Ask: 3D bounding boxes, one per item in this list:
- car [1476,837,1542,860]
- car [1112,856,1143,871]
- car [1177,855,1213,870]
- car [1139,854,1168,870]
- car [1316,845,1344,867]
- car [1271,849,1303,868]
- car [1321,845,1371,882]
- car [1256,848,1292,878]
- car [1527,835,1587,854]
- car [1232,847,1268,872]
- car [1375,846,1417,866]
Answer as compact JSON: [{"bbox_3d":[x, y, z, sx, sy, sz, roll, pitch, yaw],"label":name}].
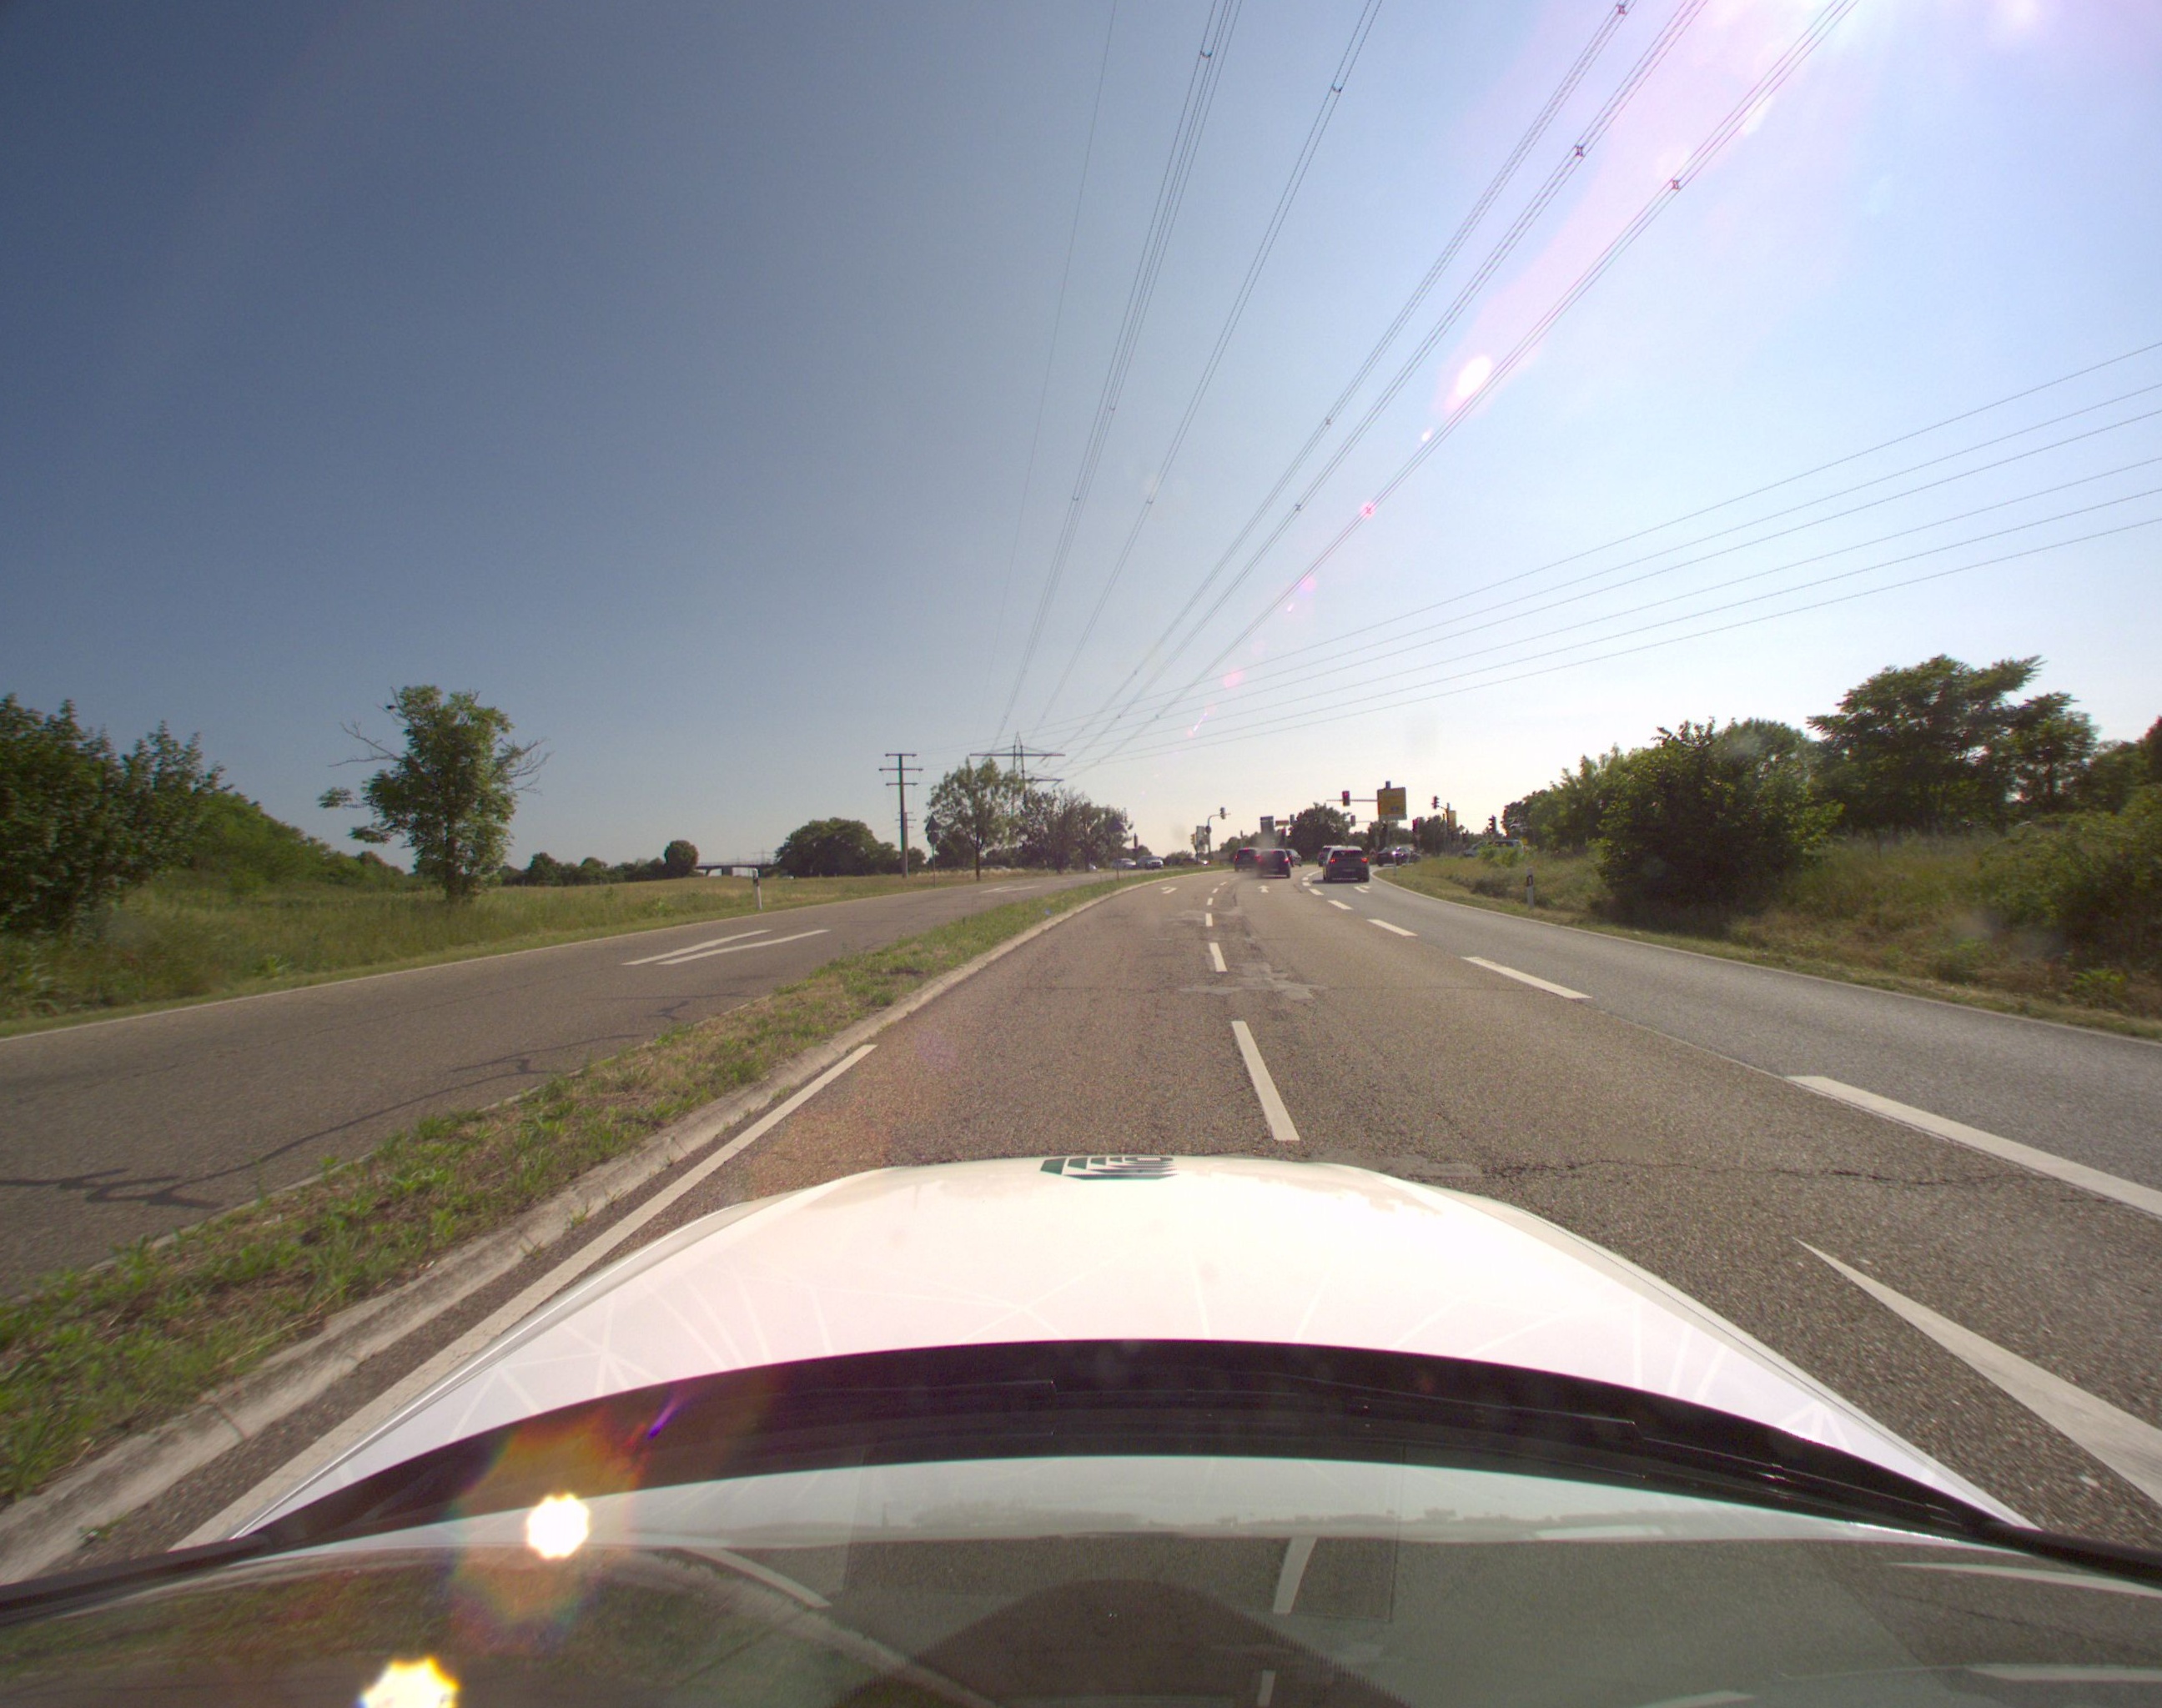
[{"bbox_3d":[38.357,-0.465,73.075,2.011,1.918,4.888,-1,0,-43],"label":"car"},{"bbox_3d":[5.373,1.130,95.042,1.825,1.651,3.963,-1,-1,-28],"label":"car"},{"bbox_3d":[13.707,1.071,98.142,1.830,1.651,3.952,-1,-1,-40],"label":"car"},{"bbox_3d":[7.849,0.857,88.689,1.817,1.651,3.979,-2,-1,-15],"label":"car"},{"bbox_3d":[20.014,0.173,65.356,1.618,1.677,3.771,-1,-1,25],"label":"car"},{"bbox_3d":[16.712,0.366,66.056,1.726,1.484,3.646,-1,-1,27],"label":"car"},{"bbox_3d":[11.596,0.372,35.879,1.760,1.517,4.115,-1,0,14],"label":"car"},{"bbox_3d":[9.867,0.430,41.440,1.620,1.448,3.309,-1,0,16],"label":"car"},{"bbox_3d":[42.576,-0.805,72.907,1.818,1.519,4.282,-1,-1,-42],"label":"car"},{"bbox_3d":[11.505,0.352,55.207,1.727,1.569,3.643,-2,0,21],"label":"car"},{"bbox_3d":[23.685,0.152,61.200,1.625,1.385,4.025,-3,0,41],"label":"car"}]
